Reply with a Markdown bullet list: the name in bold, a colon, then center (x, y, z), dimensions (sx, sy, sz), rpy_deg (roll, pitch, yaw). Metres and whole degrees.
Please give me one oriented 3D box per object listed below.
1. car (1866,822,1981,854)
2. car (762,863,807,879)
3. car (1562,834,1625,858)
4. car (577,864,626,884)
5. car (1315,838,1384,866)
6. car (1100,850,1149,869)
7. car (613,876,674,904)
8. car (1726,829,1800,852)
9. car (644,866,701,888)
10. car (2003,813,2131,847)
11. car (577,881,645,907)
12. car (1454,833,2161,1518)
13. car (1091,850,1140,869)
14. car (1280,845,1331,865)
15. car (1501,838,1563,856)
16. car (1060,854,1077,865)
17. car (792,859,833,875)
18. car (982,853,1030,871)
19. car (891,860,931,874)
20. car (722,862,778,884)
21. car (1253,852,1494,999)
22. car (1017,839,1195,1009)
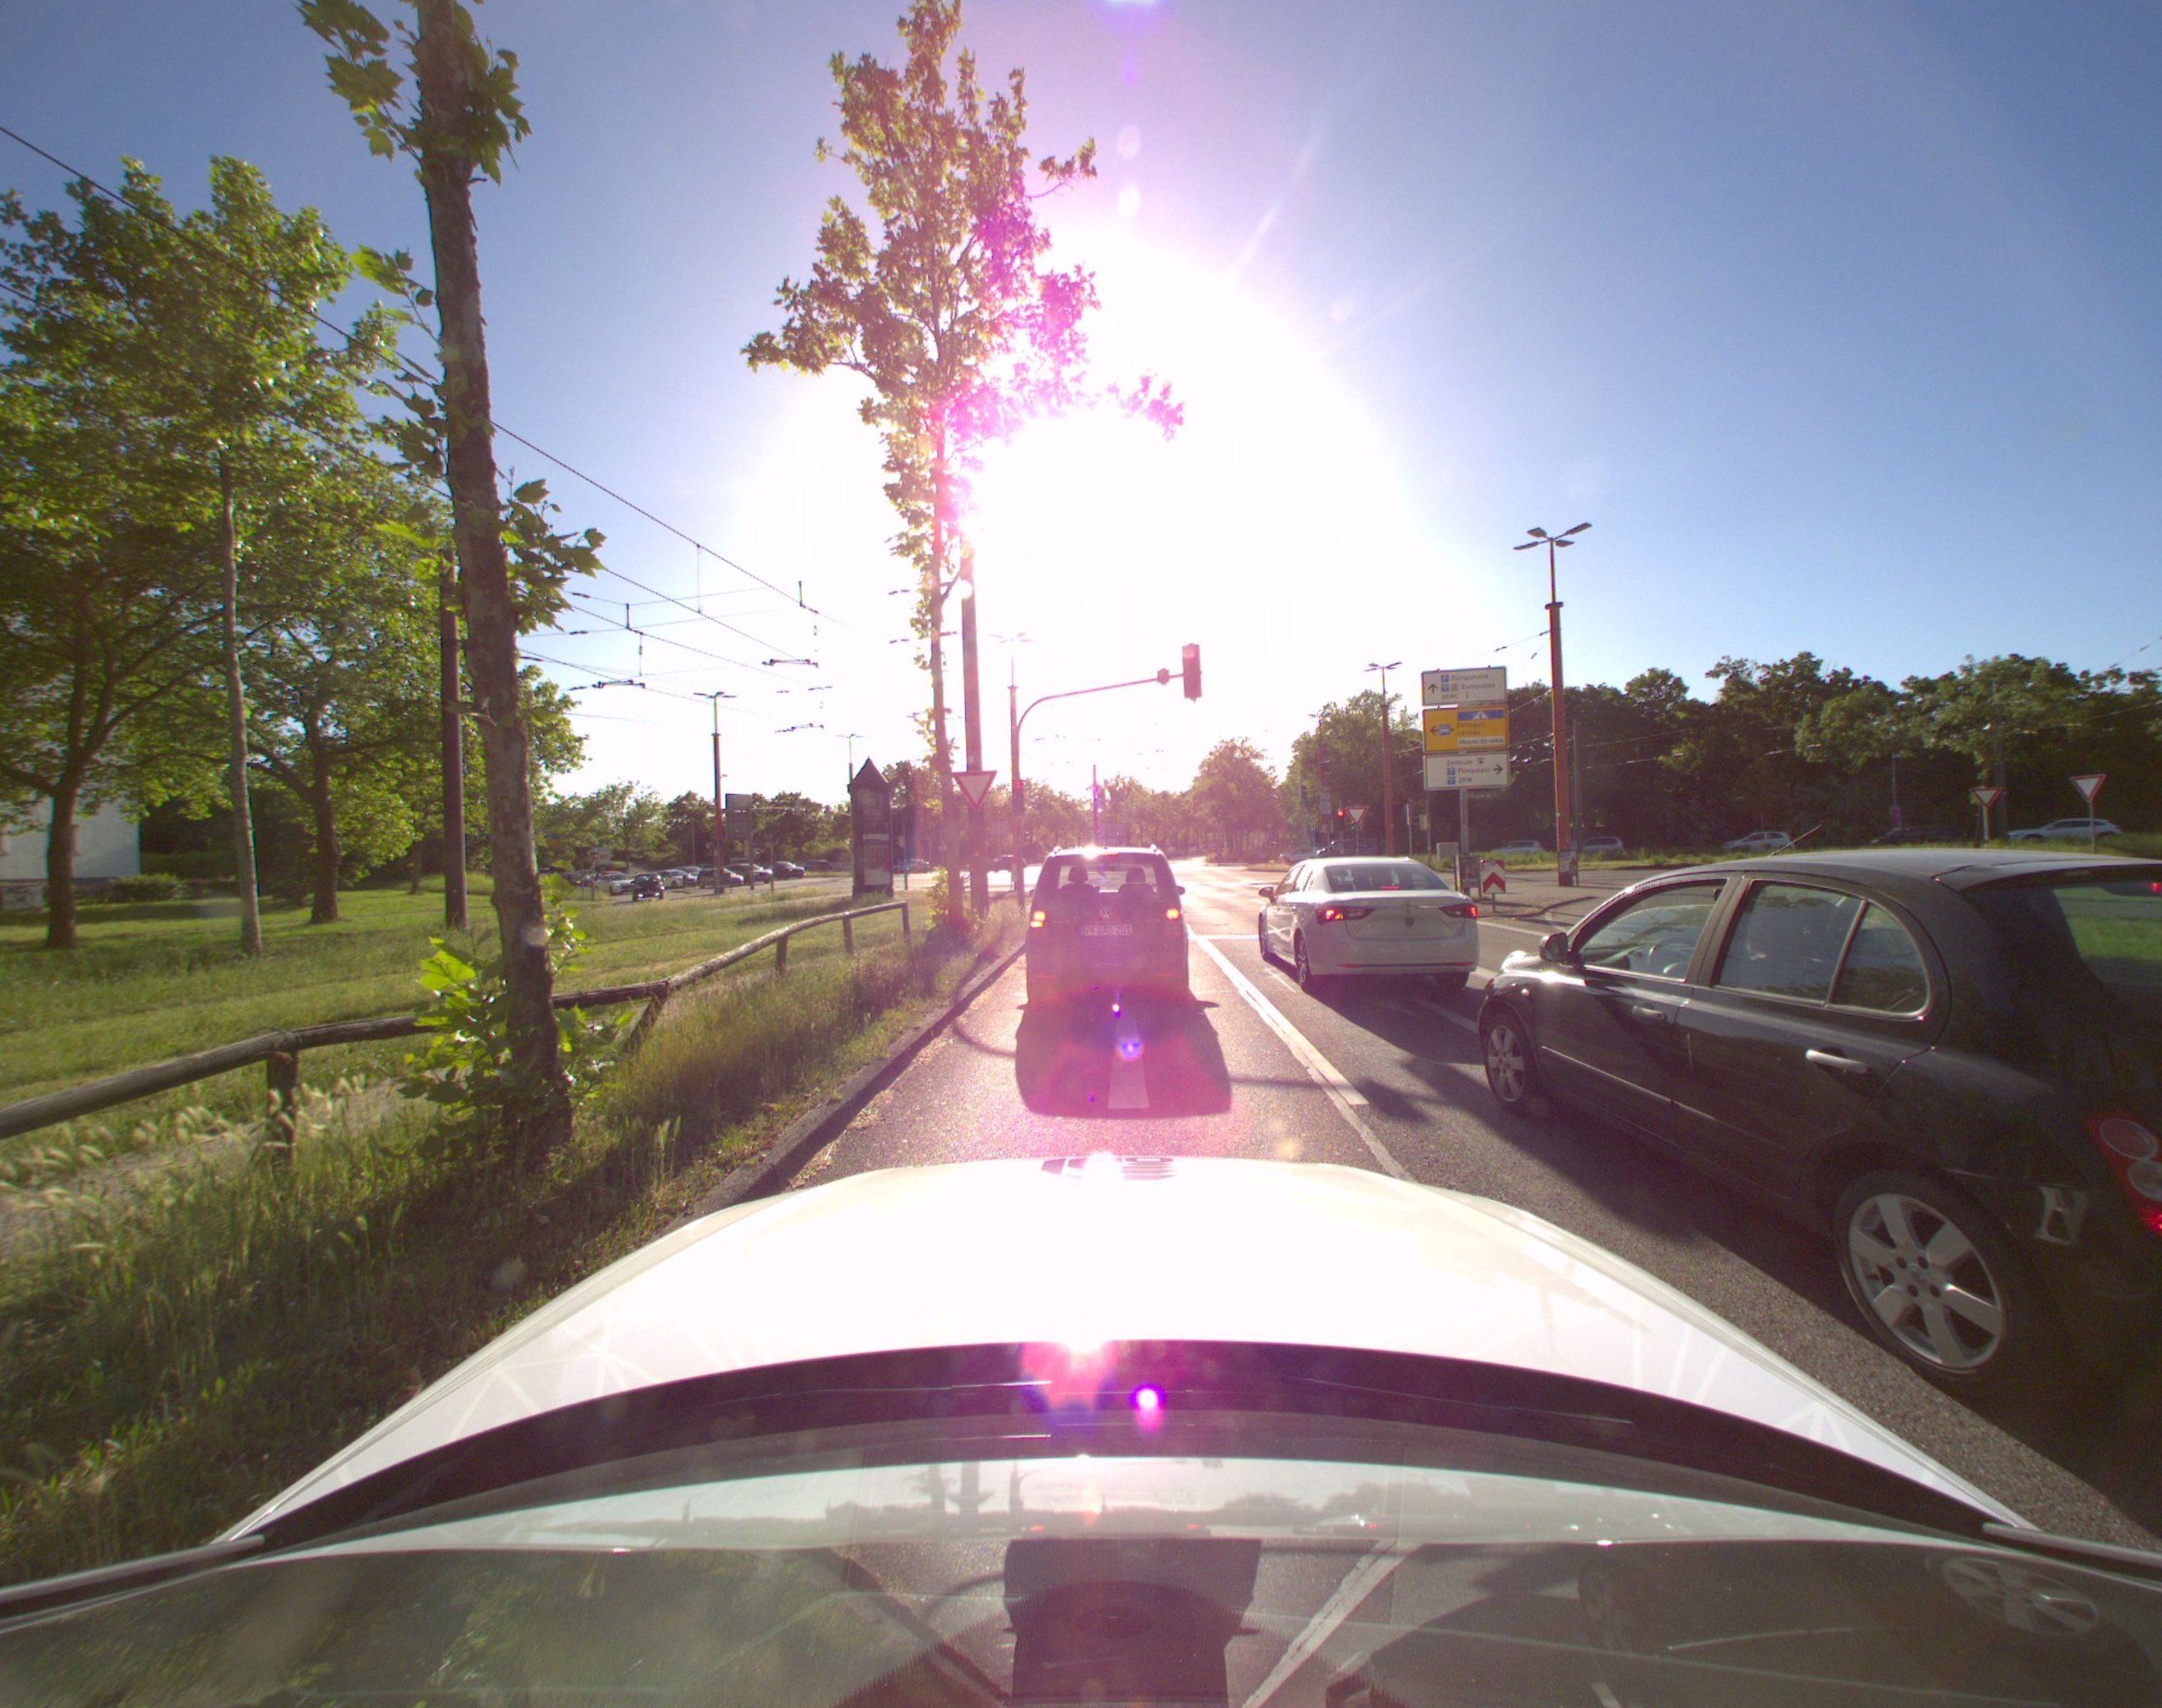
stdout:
- **car**: center (46.864, -0.862, 45.442), dimensions (3.987, 1.596, 2.012), rpy_deg (-2, 0, 25)
- **car**: center (-26.529, 1.486, 72.848), dimensions (3.948, 1.330, 1.709), rpy_deg (-2, 0, 33)
- **car**: center (33.693, -0.492, 53.615), dimensions (3.362, 1.457, 1.474), rpy_deg (-2, 0, 28)
- **car**: center (-40.525, 1.690, 68.822), dimensions (3.949, 1.513, 1.743), rpy_deg (-2, 0, 27)
- **car**: center (20.227, -0.145, 61.412), dimensions (4.526, 2.013, 2.013), rpy_deg (-2, 0, 30)
- **car**: center (3.959, 0.502, 74.323), dimensions (4.081, 1.644, 1.864), rpy_deg (-2, 0, 28)
- **car**: center (-24.650, 1.999, 46.012), dimensions (1.791, 1.390, 2.850), rpy_deg (-2, 0, 2)
- **car**: center (43.381, -0.858, 51.884), dimensions (3.403, 1.368, 1.298), rpy_deg (0, -1, 29)
- **car**: center (-32.449, 1.819, 64.692), dimensions (4.135, 1.612, 1.880), rpy_deg (-2, 0, 27)
- **car**: center (54.804, -1.309, 45.396), dimensions (4.188, 1.681, 1.713), rpy_deg (-2, 0, 32)
- **car**: center (-33.678, 2.859, 58.328), dimensions (4.783, 1.731, 2.013), rpy_deg (-2, 0, 30)
- **car**: center (3.226, 0.696, 3.575), dimensions (1.647, 1.500, 3.617), rpy_deg (-1, 0, 2)
- **car**: center (2.977, 0.485, 70.293), dimensions (3.783, 1.523, 1.705), rpy_deg (-2, 0, 27)
- **car**: center (18.242, 0.094, 66.128), dimensions (3.700, 1.473, 1.610), rpy_deg (-2, 0, 28)
- **car**: center (32.201, -0.481, 58.255), dimensions (3.792, 1.264, 1.612), rpy_deg (0, -1, 27)
- **car**: center (-1.931, 0.891, 127.699), dimensions (1.904, 1.635, 4.010), rpy_deg (0, 0, 9)
- **car**: center (-28.869, 1.368, 87.610), dimensions (4.139, 1.644, 1.770), rpy_deg (0, -1, 28)
- **car**: center (-7.027, 0.745, 75.962), dimensions (4.080, 1.598, 1.840), rpy_deg (-2, 0, 29)
- **car**: center (-17.842, 1.321, 85.531), dimensions (3.927, 1.441, 1.696), rpy_deg (0, -1, 26)
- **car**: center (-26.604, 1.550, 65.372), dimensions (3.950, 1.644, 2.012), rpy_deg (-2, 0, 26)
- **car**: center (3.325, 0.711, 10.143), dimensions (1.713, 1.438, 4.202), rpy_deg (-1, 0, 3)
- **car**: center (0.296, 0.688, 9.934), dimensions (1.694, 1.621, 3.898), rpy_deg (-2, 0, 1)
